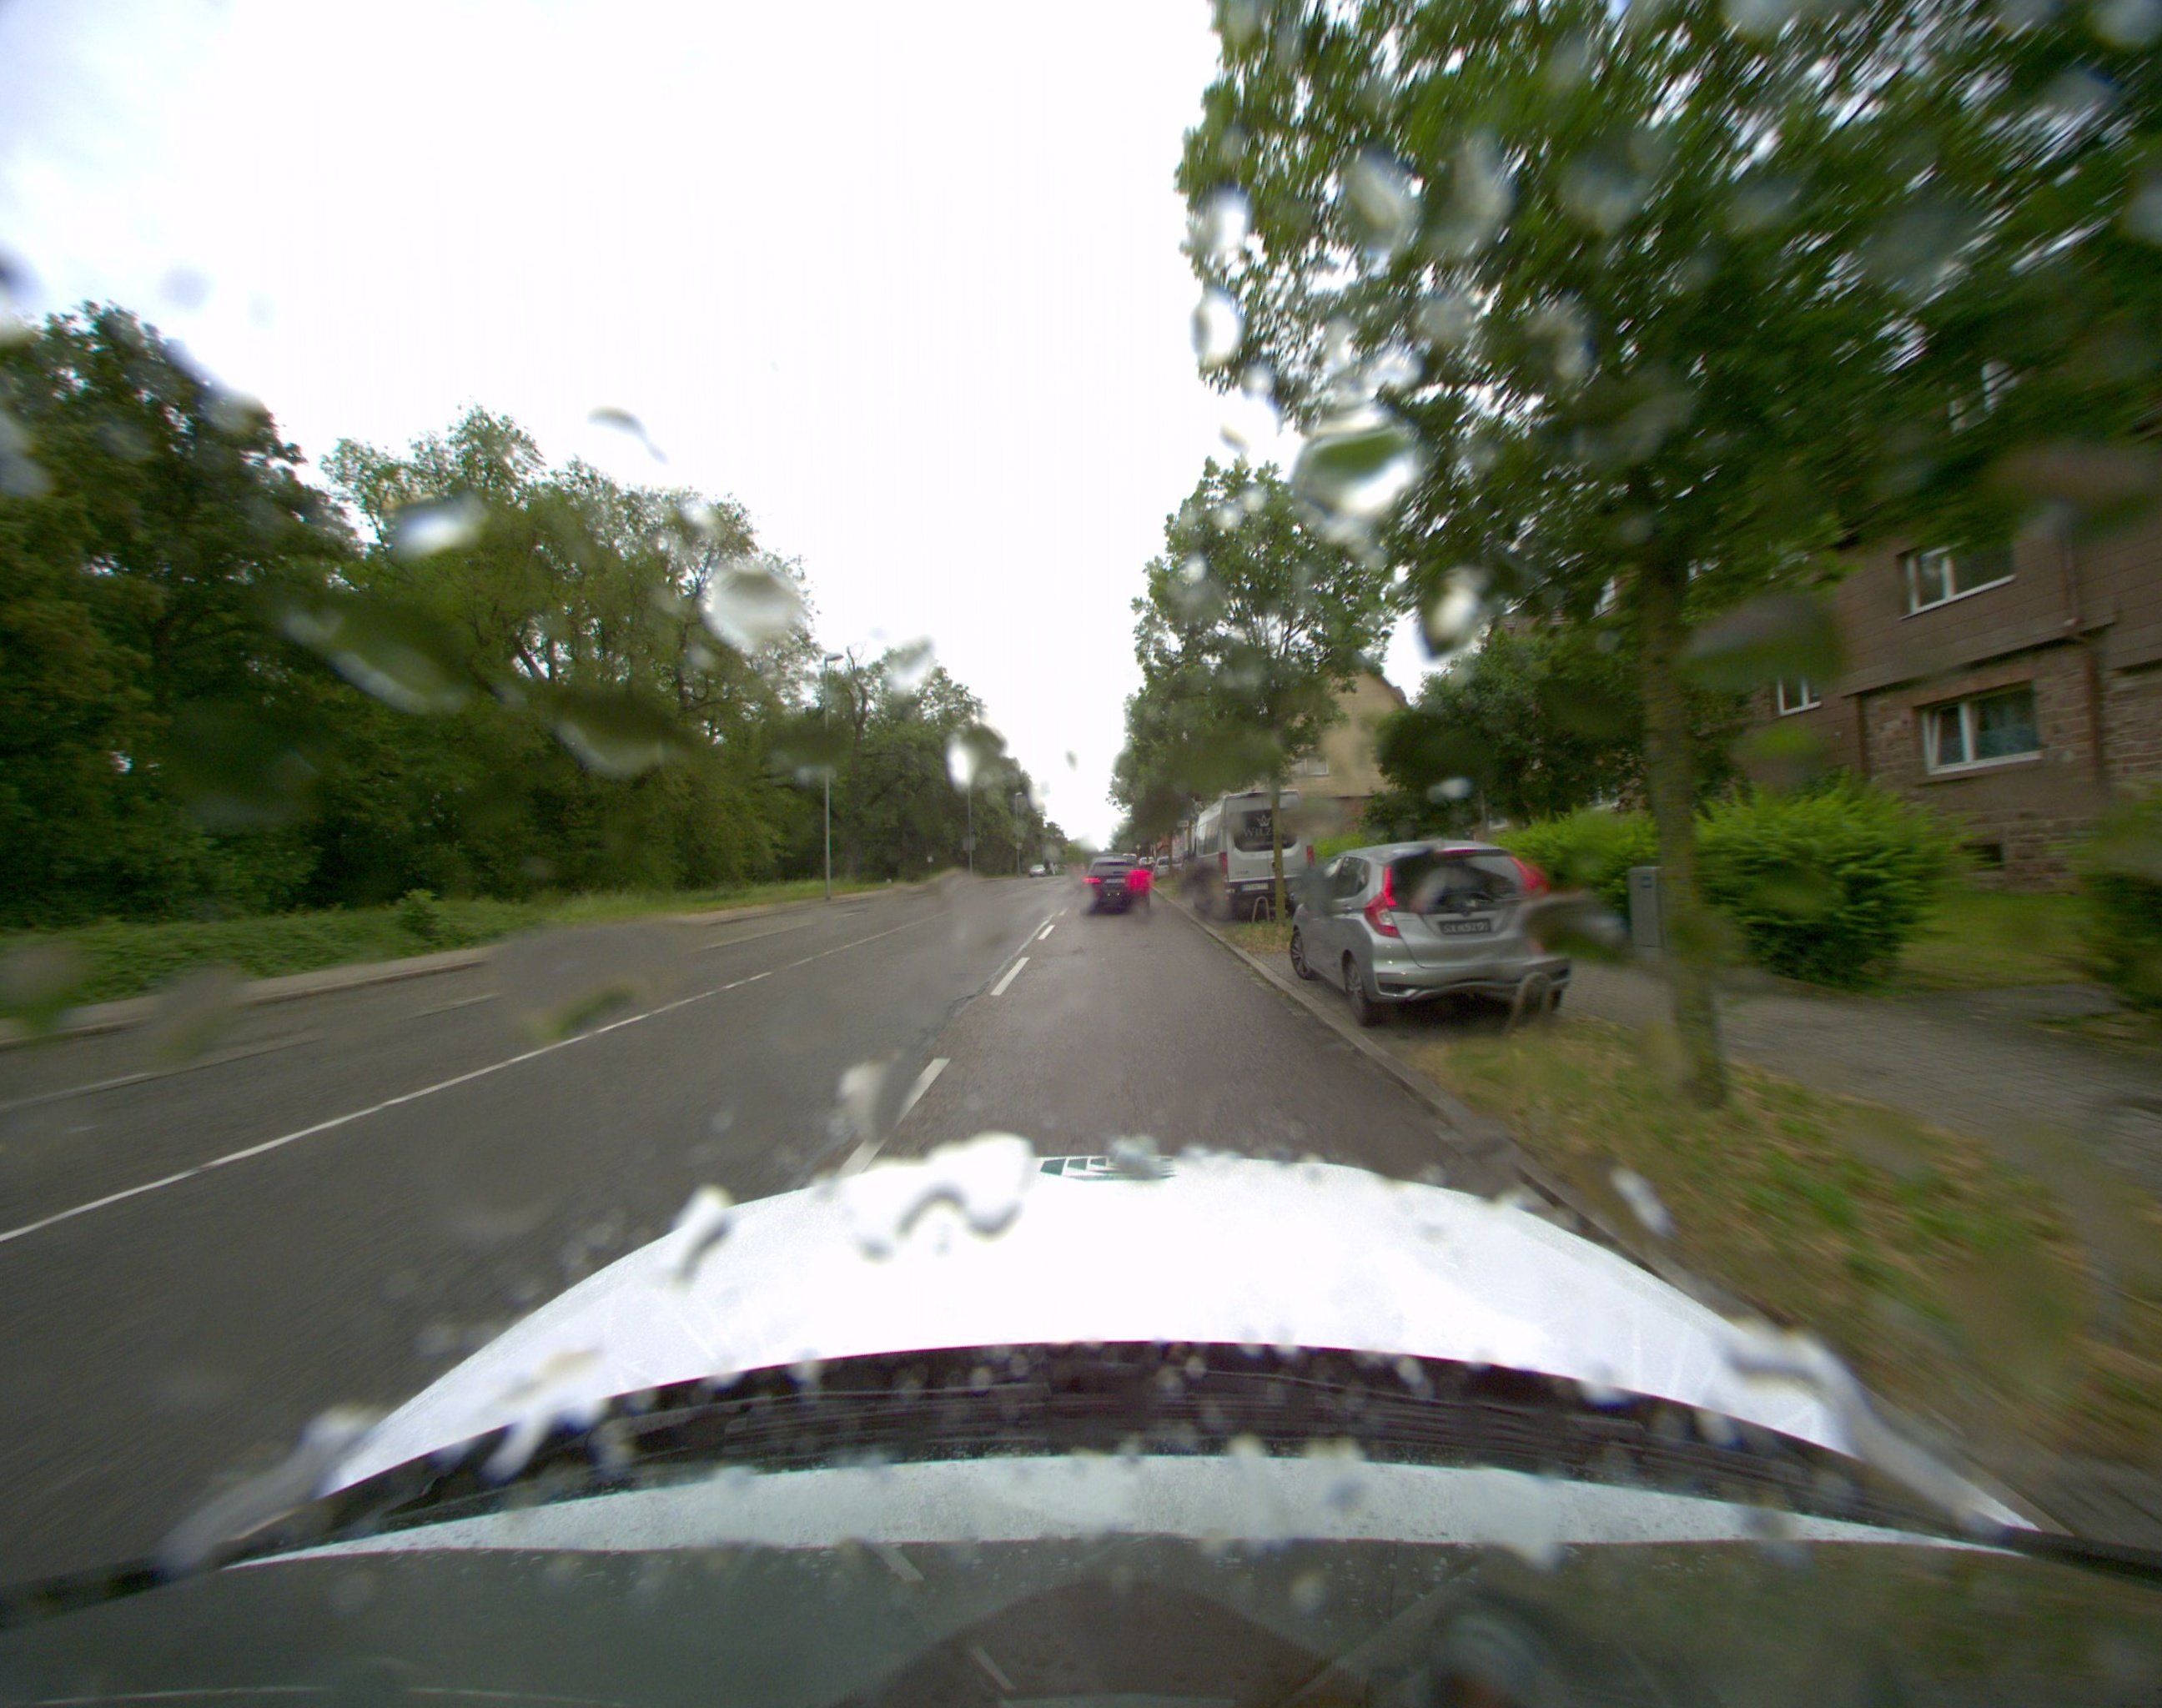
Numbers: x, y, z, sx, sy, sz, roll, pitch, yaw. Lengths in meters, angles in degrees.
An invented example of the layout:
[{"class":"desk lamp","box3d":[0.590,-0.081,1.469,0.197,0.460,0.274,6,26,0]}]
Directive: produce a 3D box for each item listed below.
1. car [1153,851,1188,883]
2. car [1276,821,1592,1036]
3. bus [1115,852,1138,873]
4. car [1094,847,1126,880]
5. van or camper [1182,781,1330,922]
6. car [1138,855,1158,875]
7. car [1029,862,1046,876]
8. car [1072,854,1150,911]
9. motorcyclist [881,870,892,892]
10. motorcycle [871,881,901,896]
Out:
[{"class":"car","box3d":[5.205,0.711,47.932,1.695,1.584,4.647,-6,0,3]},{"class":"car","box3d":[3.180,0.580,8.211,1.661,1.528,3.836,-5,0,4]},{"class":"bus","box3d":[6.877,1.190,121.949,2.608,2.847,8.307,-3,-1,8]},{"class":"car","box3d":[1.905,0.622,52.867,1.985,2.014,4.002,-2,-1,2]},{"class":"van or camper","box3d":[3.930,-0.064,19.813,2.189,2.651,7.306,-4,0,3]},{"class":"car","box3d":[6.472,1.030,79.151,1.816,1.772,4.544,-3,-1,3]},{"class":"car","box3d":[-5.102,1.791,96.775,1.684,1.483,4.451,-4,-1,0]},{"class":"car","box3d":[0.824,0.762,22.957,1.986,1.453,4.001,0,-1,1]},{"class":"motorcyclist","box3d":[-15.704,2.169,65.686,0.647,1.681,0.813,-1,0,2]},{"class":"motorcycle","box3d":[-15.714,2.775,65.689,2.174,1.118,0.824,-1,0,1]}]
